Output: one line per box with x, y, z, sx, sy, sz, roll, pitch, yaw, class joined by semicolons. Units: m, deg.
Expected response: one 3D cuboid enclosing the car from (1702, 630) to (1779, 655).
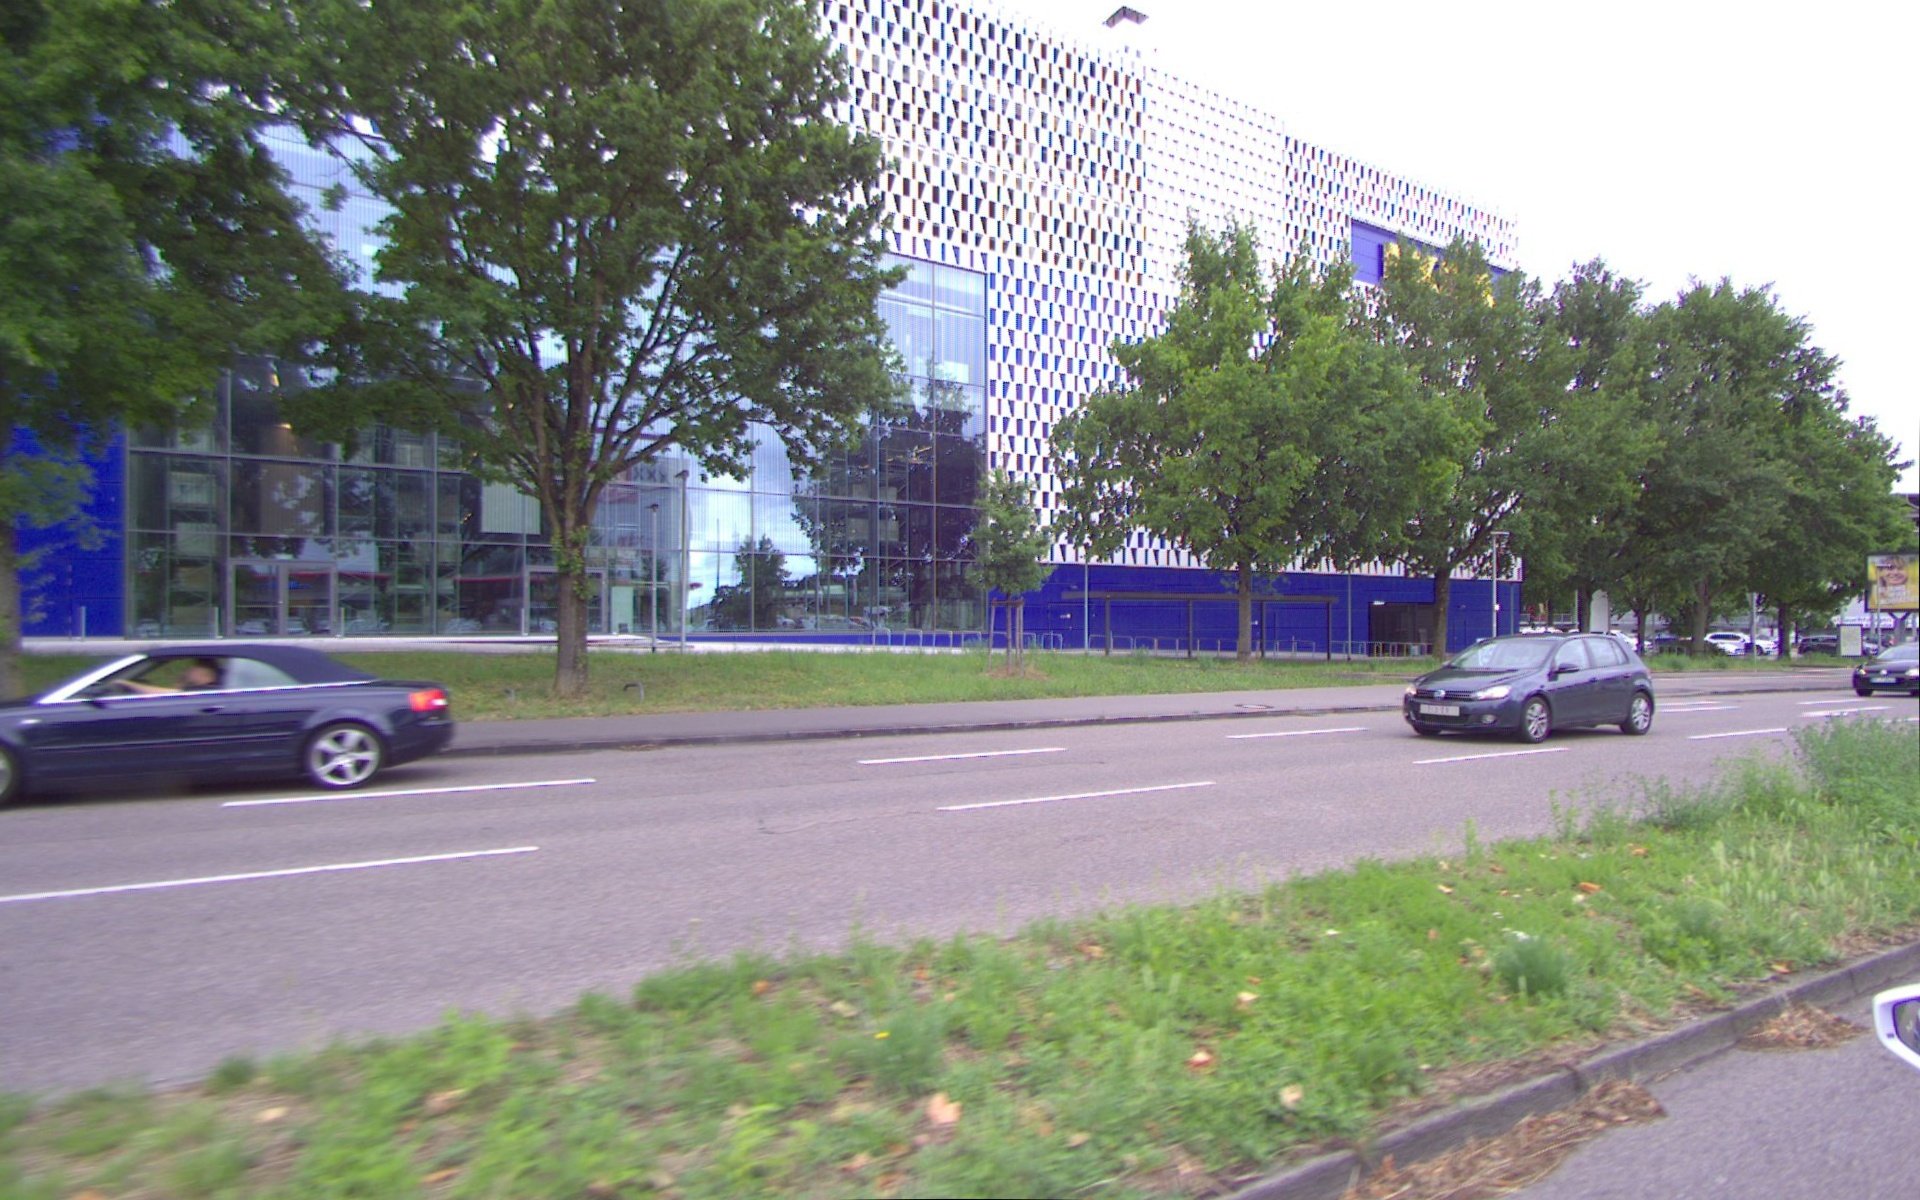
61.061;3.324;78.653;1.979;1.734;4.406;-3;1;-34;car

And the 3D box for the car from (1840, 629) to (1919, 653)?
65.735;2.875;71.550;1.980;1.529;4.221;-1;0;-35;car

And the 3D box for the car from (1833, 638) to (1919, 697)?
25.455;1.758;26.638;4.124;1.475;1.926;1;-3;-25;car

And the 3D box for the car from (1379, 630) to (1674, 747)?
8.169;1.188;14.435;4.131;1.474;1.773;1;-3;-29;car

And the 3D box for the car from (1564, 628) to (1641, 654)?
53.815;3.419;84.221;1.859;1.990;5.104;-3;1;-32;car

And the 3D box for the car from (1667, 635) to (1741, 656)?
57.809;3.505;78.072;1.972;1.532;4.204;0;-1;-32;car

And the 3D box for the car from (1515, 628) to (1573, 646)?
53.238;3.354;91.648;1.972;1.524;4.204;0;-1;-32;car

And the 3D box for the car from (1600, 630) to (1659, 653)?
57.086;3.523;85.694;1.859;1.770;3.740;-1;0;-32;car

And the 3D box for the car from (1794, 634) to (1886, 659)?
61.905;3.249;70.719;1.980;1.681;4.514;1;-2;-35;car

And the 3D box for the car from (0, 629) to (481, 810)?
-7.071;1.052;9.633;4.352;1.471;1.764;2;-3;-30;car
